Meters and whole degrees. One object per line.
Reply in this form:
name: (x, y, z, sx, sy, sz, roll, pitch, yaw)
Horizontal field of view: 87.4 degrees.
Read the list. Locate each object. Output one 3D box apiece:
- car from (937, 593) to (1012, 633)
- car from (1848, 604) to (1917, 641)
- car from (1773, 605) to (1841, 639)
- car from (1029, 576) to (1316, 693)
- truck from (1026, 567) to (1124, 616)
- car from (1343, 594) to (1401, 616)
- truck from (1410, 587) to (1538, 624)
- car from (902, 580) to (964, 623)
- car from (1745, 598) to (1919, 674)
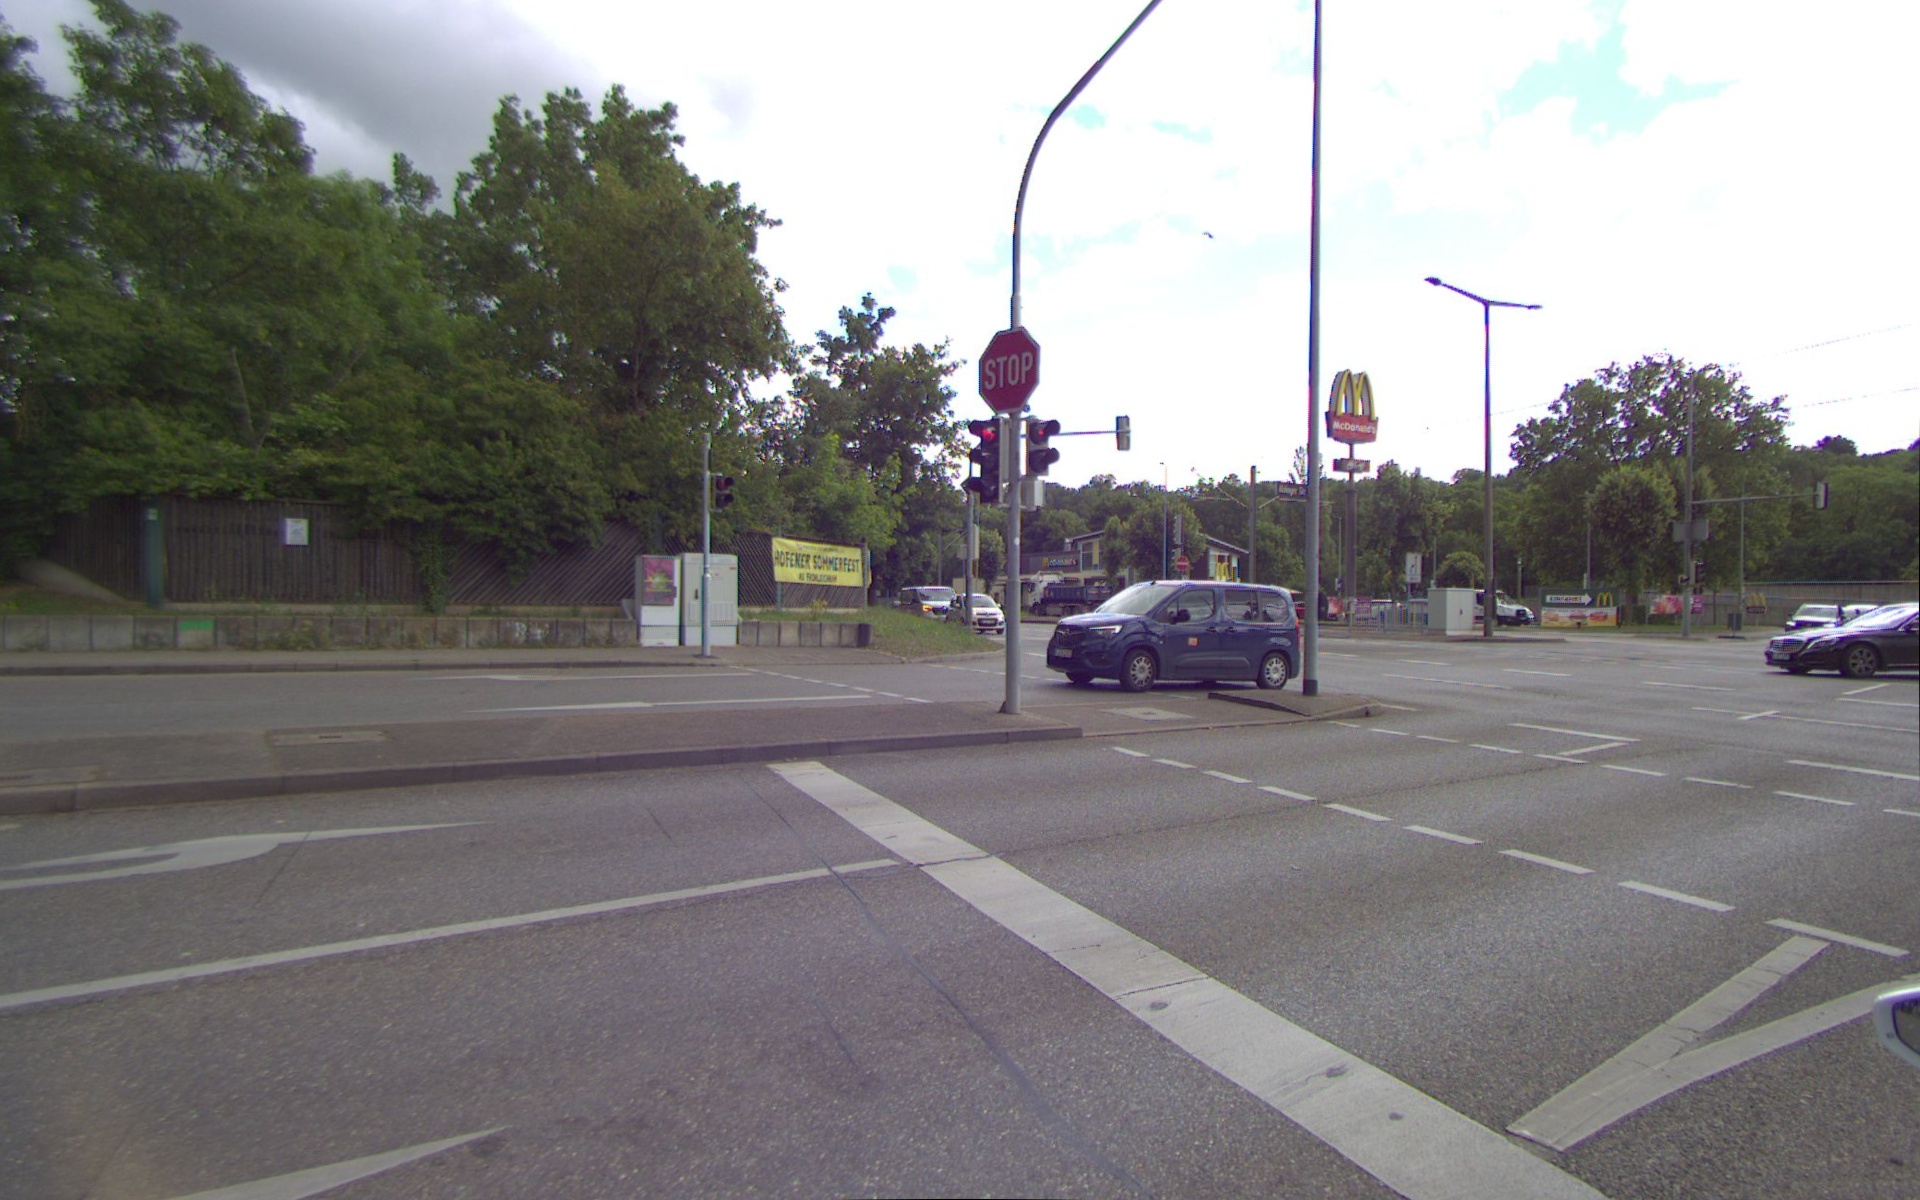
car: (0.495, 0.491, 39.253, 1.694, 1.437, 3.983, 2, 0, -18)
car: (38.815, 0.892, 42.222, 4.385, 1.451, 1.774, 0, 1, -43)
car: (38.801, 0.965, 46.078, 1.764, 1.451, 3.633, 0, 1, 30)
car: (3.516, 0.553, 16.532, 4.416, 1.728, 1.819, 2, 1, -26)
truck: (9.060, -0.635, 80.126, 3.396, 3.607, 8.634, 2, 0, -28)
car: (31.574, 0.359, 77.064, 1.759, 1.549, 3.971, 2, 0, -27)
truck: (29.304, 0.271, 57.529, 2.570, 1.930, 6.149, 2, 0, -29)
car: (-1.264, 0.100, 45.364, 1.781, 1.849, 3.985, 0, -1, -17)
car: (19.220, 0.716, 20.389, 4.893, 1.470, 1.832, 1, 0, 9)
